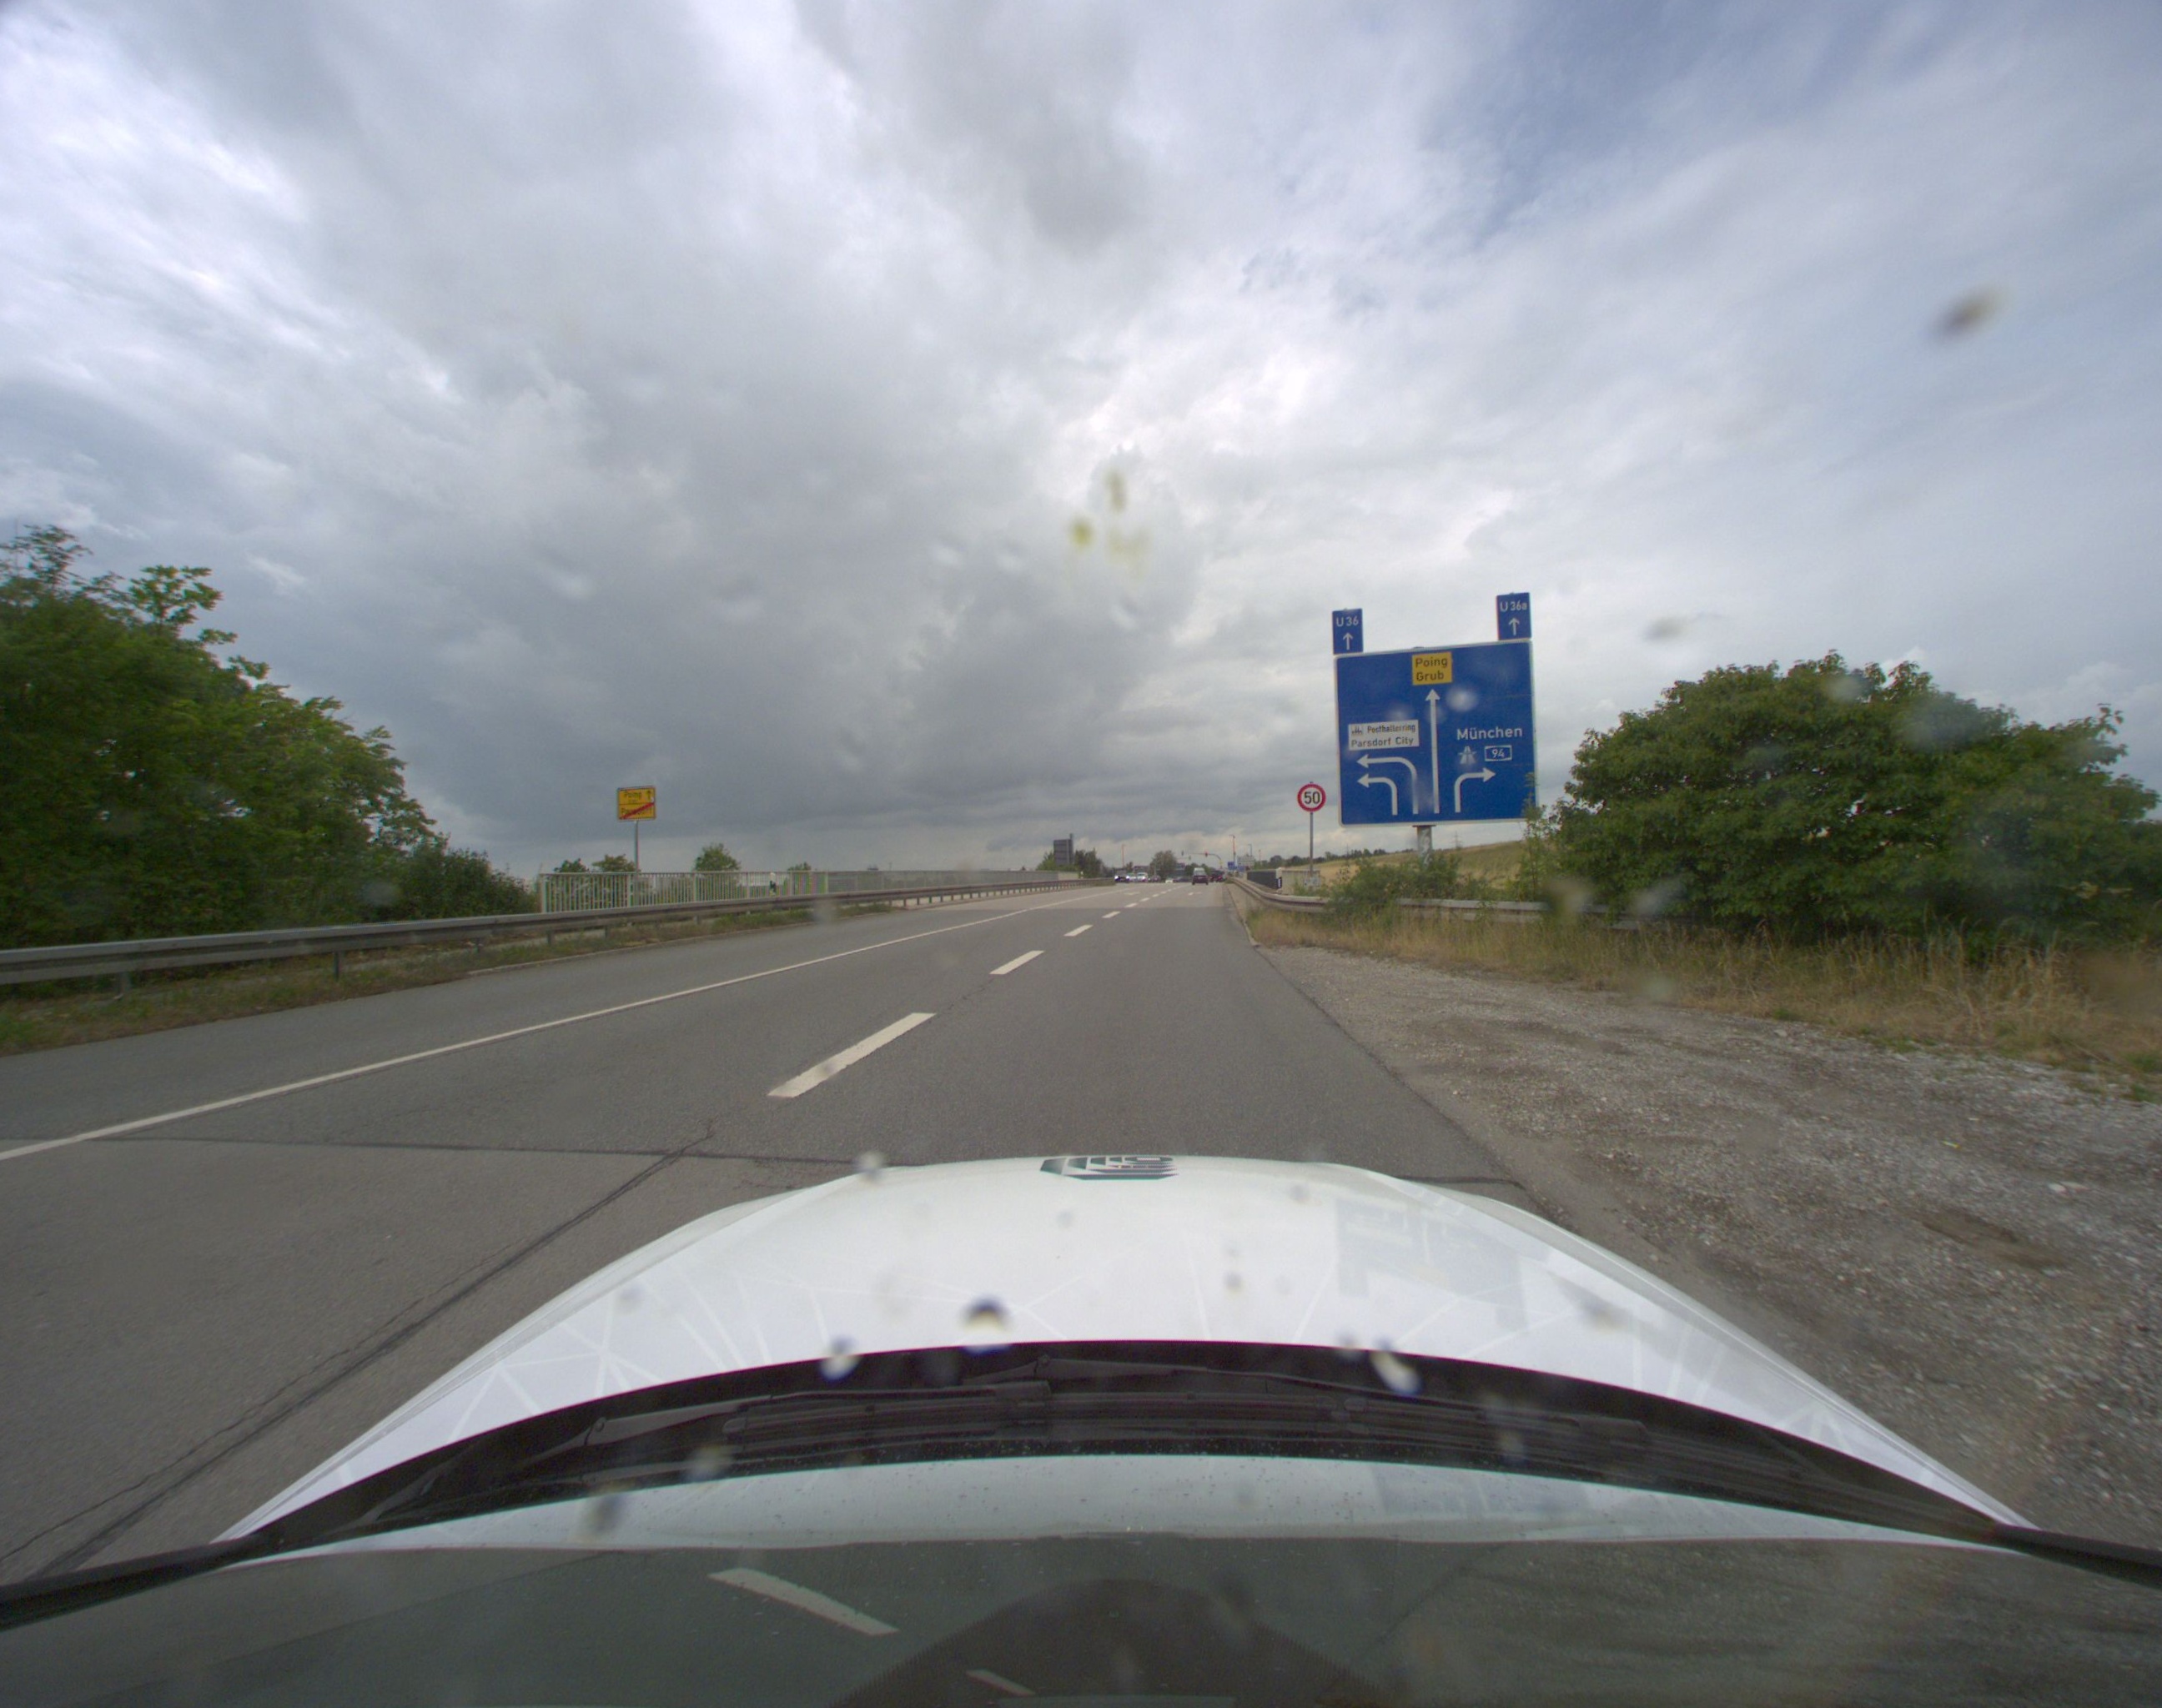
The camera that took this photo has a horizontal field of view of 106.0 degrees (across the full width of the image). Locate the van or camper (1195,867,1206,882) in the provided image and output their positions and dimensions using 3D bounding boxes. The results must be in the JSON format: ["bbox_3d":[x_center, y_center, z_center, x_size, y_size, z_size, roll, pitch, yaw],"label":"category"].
[{"bbox_3d":[21.563,3.737,146.897,1.865,2.581,4.010,0,-2,10],"label":"van or camper"}]

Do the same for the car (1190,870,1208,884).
[{"bbox_3d":[12.237,2.397,84.412,1.507,1.486,3.628,-1,-2,13],"label":"car"}]

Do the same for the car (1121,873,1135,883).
[{"bbox_3d":[7.438,3.766,127.536,1.701,1.487,4.289,-2,-1,9],"label":"car"}]

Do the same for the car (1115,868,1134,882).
[{"bbox_3d":[6.082,2.877,113.153,1.981,1.732,4.775,-2,-1,10],"label":"car"}]

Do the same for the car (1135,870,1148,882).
[{"bbox_3d":[10.945,3.960,146.807,1.942,1.875,4.832,-2,-1,9],"label":"car"}]

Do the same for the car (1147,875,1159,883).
[{"bbox_3d":[14.411,5.035,163.250,1.570,1.558,4.163,0,-2,16],"label":"car"}]

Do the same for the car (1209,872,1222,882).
[{"bbox_3d":[21.379,3.662,129.444,1.670,1.544,3.628,-1,-2,13],"label":"car"}]

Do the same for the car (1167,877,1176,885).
[{"bbox_3d":[19.564,5.778,175.117,1.798,1.368,4.797,0,0,8],"label":"car"}]
